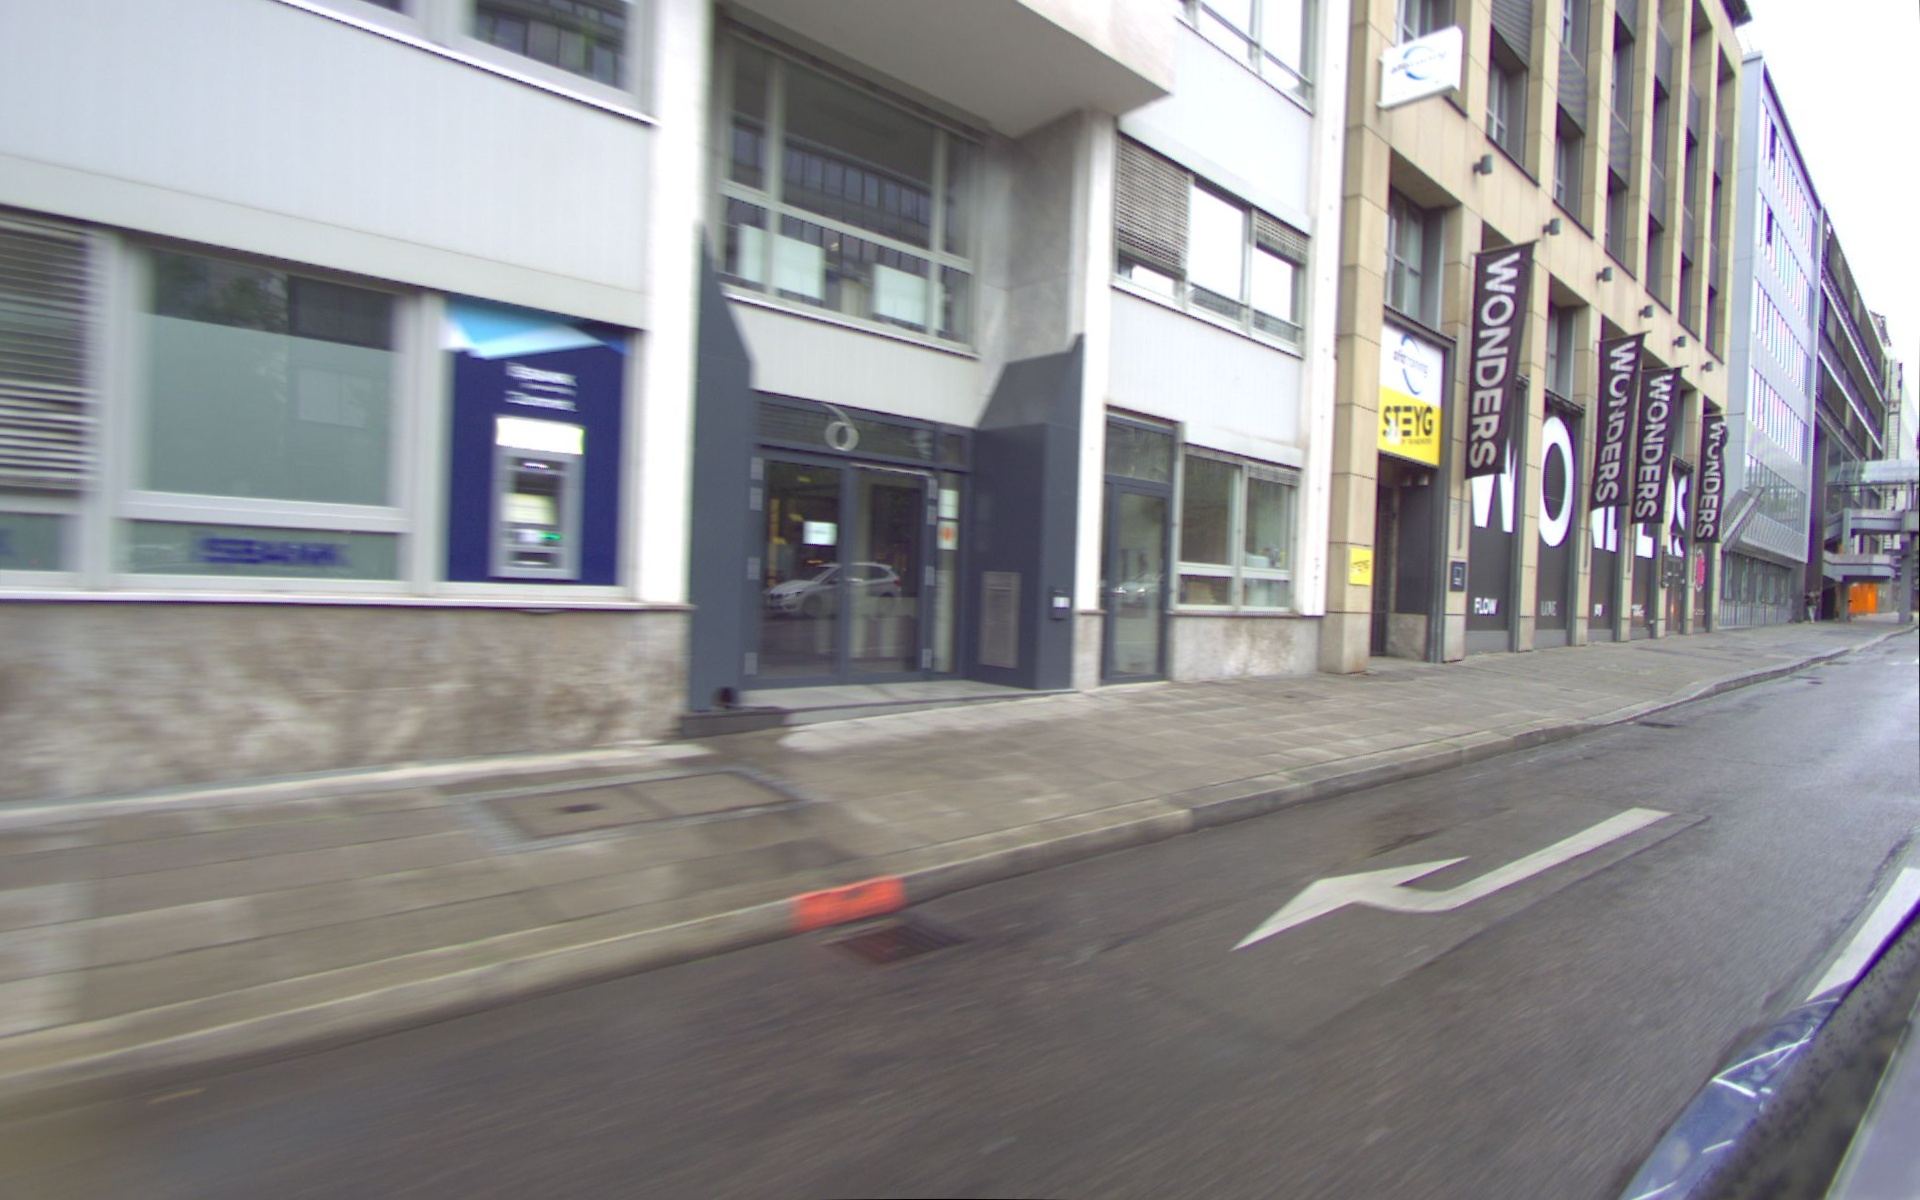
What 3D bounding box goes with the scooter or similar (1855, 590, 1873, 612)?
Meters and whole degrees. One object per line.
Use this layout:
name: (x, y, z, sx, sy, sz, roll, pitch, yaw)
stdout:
scooter or similar: (52.306, 0.058, 58.559, 0.468, 1.289, 1.294, 1, 1, 30)
